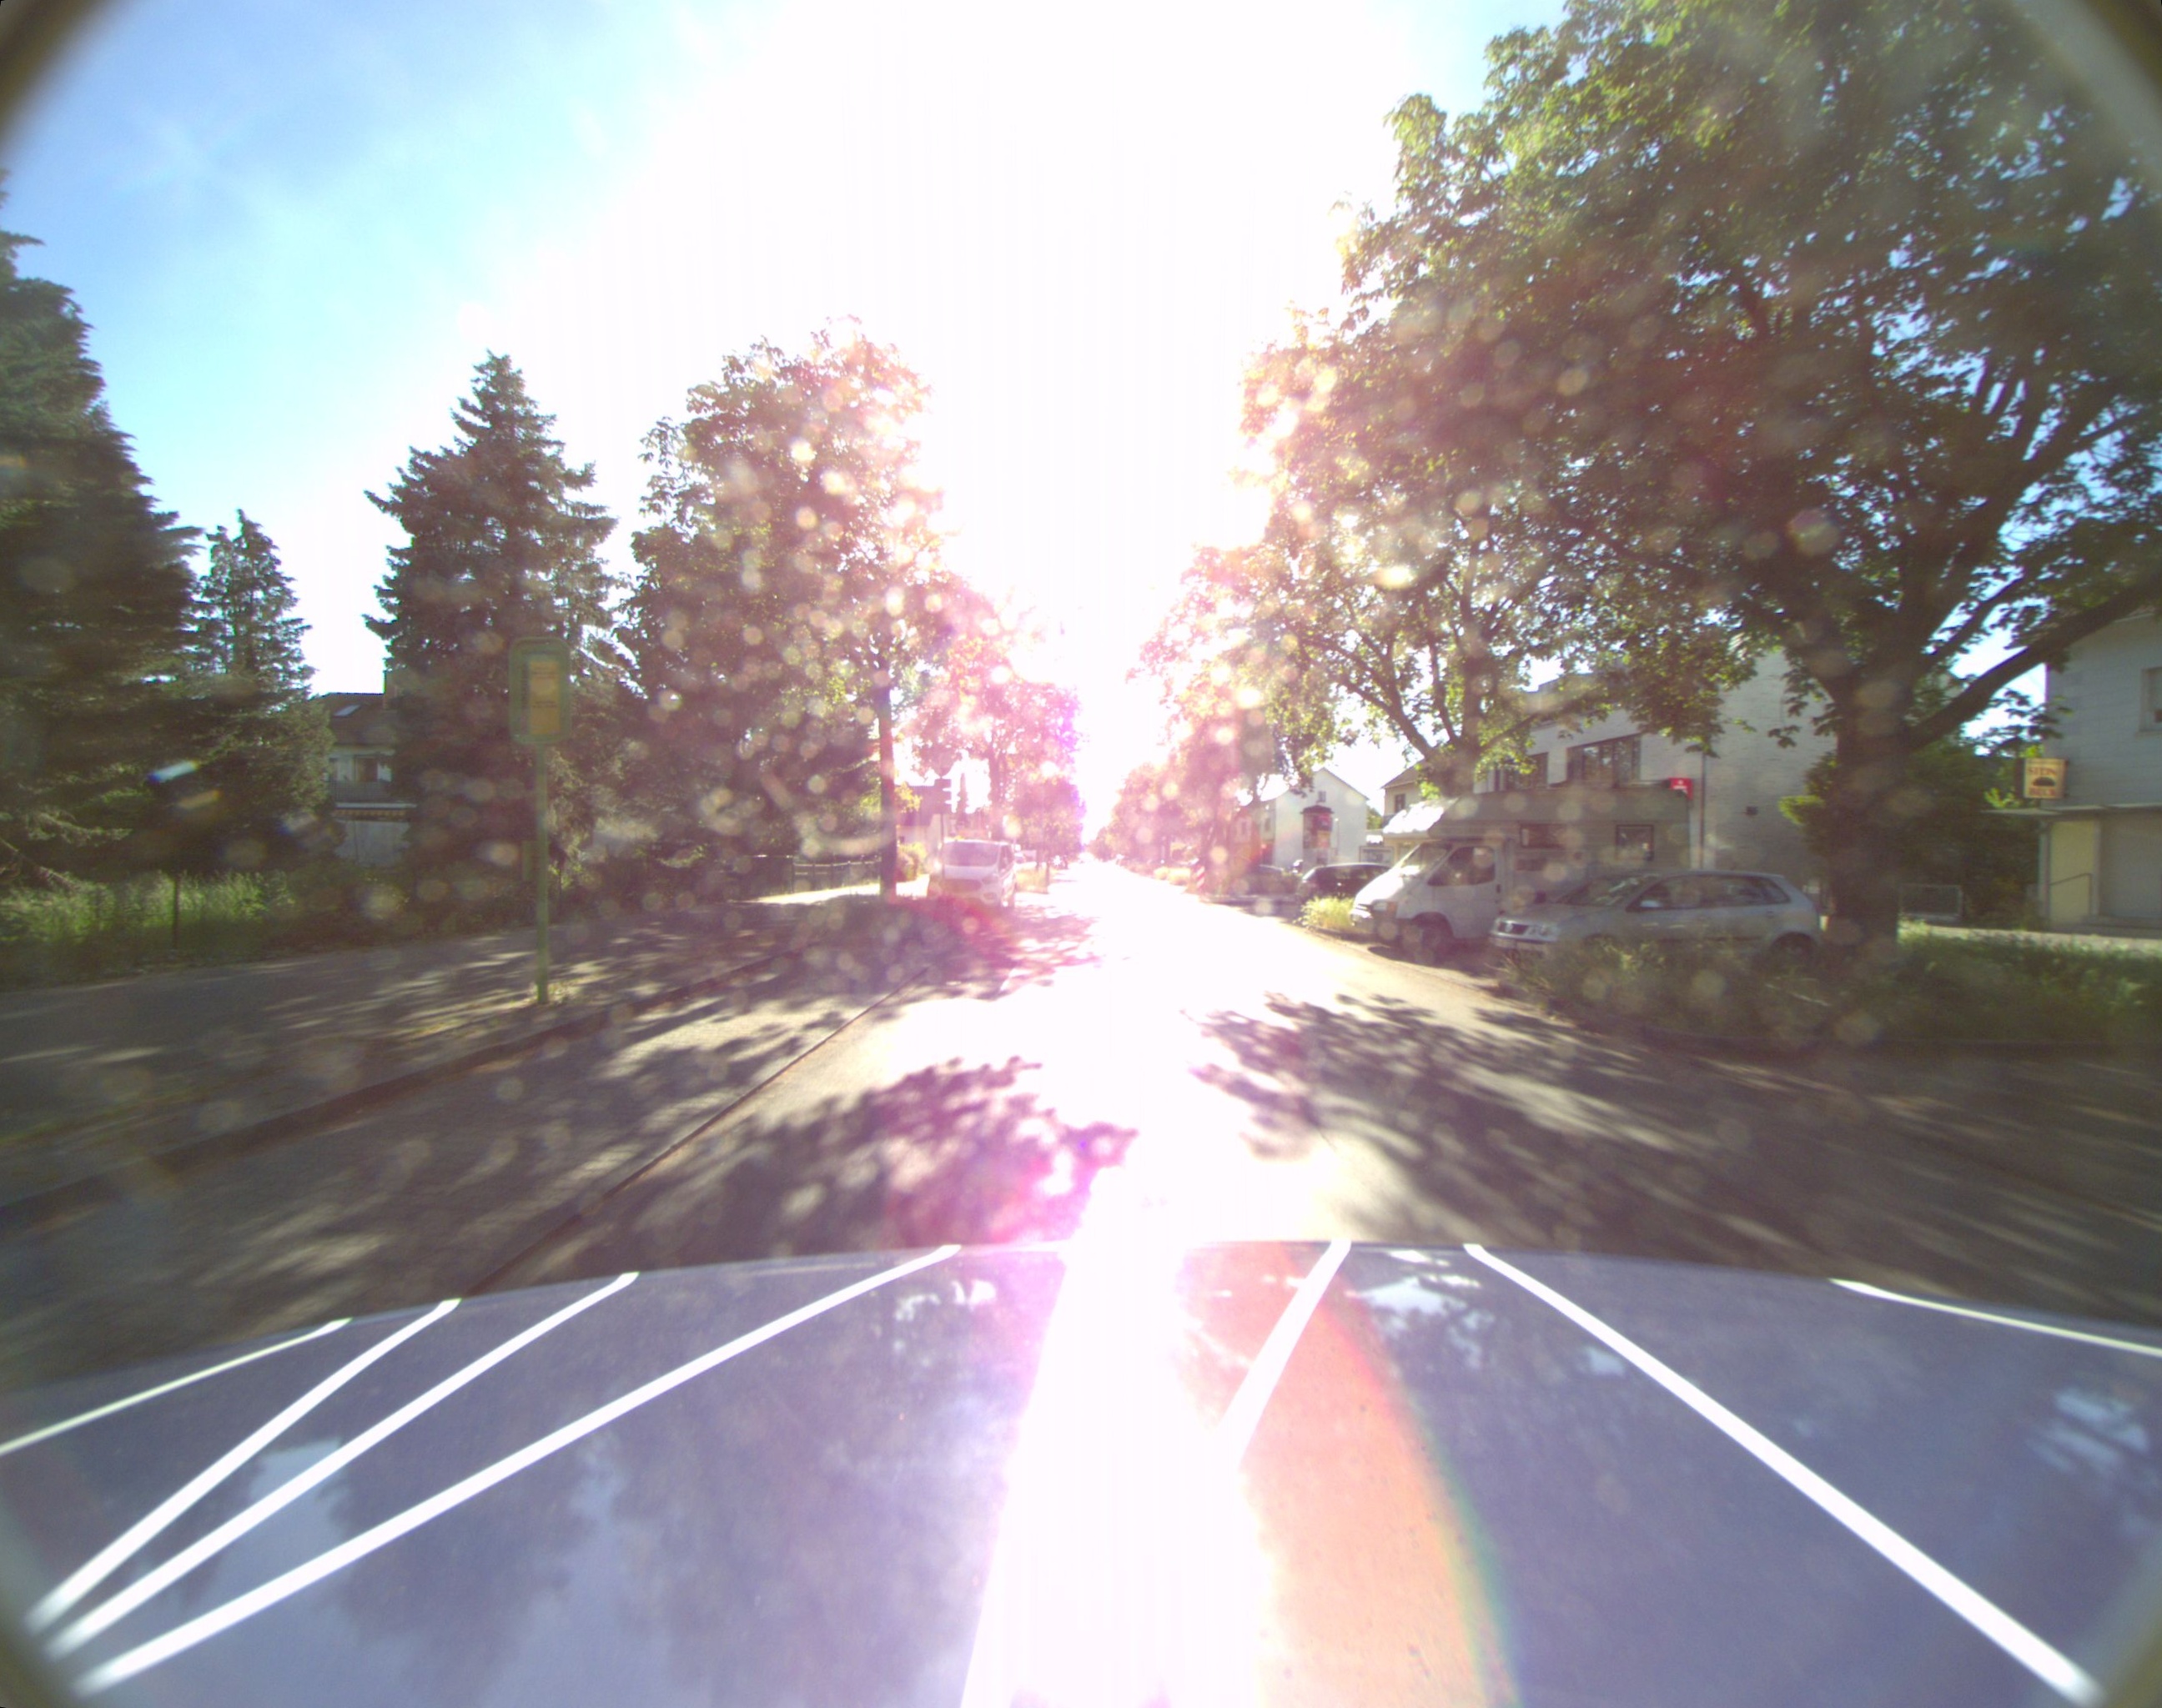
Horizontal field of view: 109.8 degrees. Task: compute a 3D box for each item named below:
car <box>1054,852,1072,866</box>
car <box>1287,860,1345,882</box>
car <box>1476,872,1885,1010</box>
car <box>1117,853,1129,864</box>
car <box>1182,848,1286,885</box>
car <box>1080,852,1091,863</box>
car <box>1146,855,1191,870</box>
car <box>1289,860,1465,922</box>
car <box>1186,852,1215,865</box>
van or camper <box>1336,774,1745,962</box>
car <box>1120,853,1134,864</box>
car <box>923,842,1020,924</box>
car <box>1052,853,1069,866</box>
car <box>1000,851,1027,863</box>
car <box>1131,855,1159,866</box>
[{"bbox_3d":[-2.240,0.564,94.984,1.941,1.684,4.363,0,0,3],"label":"car"},{"bbox_3d":[19.101,1.393,61.773,3.999,1.628,1.999,2,1,-6],"label":"car"},{"bbox_3d":[7.928,1.090,10.369,3.997,1.450,1.999,-2,1,-1],"label":"car"},{"bbox_3d":[6.732,0.670,122.190,1.815,1.722,4.056,1,0,3],"label":"car"},{"bbox_3d":[8.163,0.649,40.818,5.075,1.718,1.999,-3,1,-3],"label":"car"},{"bbox_3d":[0.781,0.573,125.213,1.539,1.582,3.458,-2,1,3],"label":"car"},{"bbox_3d":[9.040,0.871,78.729,4.393,1.408,2.000,-1,1,0],"label":"car"},{"bbox_3d":[7.710,0.955,20.061,3.996,1.441,1.639,-1,1,4],"label":"car"},{"bbox_3d":[16.642,0.634,105.901,3.773,1.556,1.691,2,1,4],"label":"car"},{"bbox_3d":[7.717,0.229,13.230,5.789,2.789,2.000,-2,1,2],"label":"van or camper"},{"bbox_3d":[6.722,0.648,110.873,1.998,1.530,3.695,-2,1,3],"label":"car"},{"bbox_3d":[-2.964,0.697,21.754,1.999,2.002,5.195,-2,1,-1],"label":"car"},{"bbox_3d":[-2.364,0.586,88.869,1.690,1.414,3.777,2,1,1],"label":"car"},{"bbox_3d":[-9.175,0.371,103.591,3.621,1.431,1.695,-3,1,-3],"label":"car"},{"bbox_3d":[8.955,0.906,106.043,3.695,1.315,1.624,-1,1,-5],"label":"car"}]
